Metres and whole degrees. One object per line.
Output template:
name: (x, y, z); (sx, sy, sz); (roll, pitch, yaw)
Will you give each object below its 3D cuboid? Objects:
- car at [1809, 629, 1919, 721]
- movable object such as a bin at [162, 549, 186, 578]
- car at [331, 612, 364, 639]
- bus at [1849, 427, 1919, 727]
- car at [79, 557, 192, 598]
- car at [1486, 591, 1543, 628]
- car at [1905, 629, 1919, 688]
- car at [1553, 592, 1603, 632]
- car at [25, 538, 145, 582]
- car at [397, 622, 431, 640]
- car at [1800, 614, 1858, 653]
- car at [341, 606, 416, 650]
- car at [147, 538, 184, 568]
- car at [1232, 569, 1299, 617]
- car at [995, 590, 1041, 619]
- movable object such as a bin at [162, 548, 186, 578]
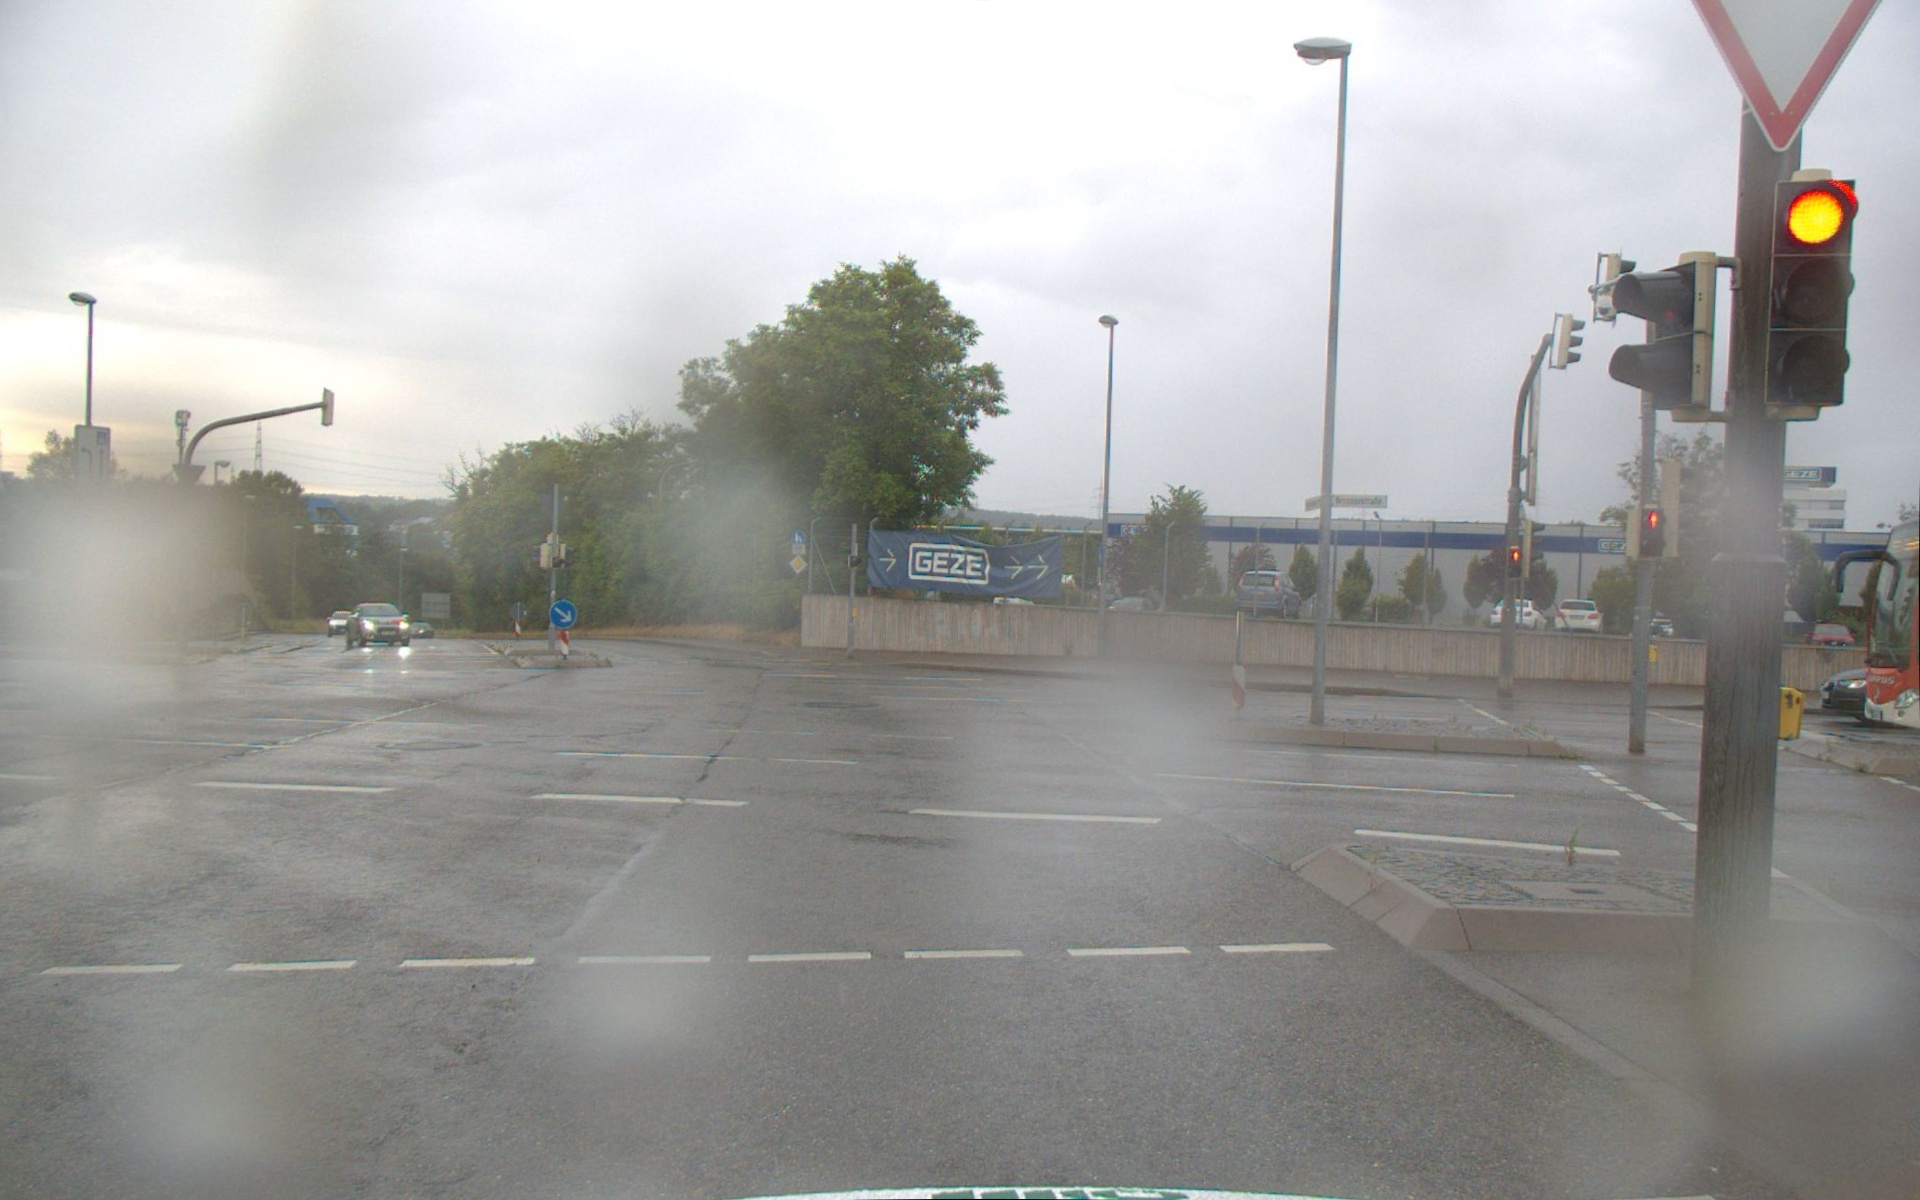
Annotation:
car: (16.282, 1.235, 26.669); (4.286, 1.378, 1.827); (2, 0, 16)
movable object such as a bin: (-41.583, -1.915, 87.486); (1.071, 1.462, 1.434); (3, -2, -27)
car: (-36.821, 1.519, 99.510); (1.693, 1.521, 3.979); (1, -1, -18)
bus: (17.743, 0.044, 19.813); (11.995, 3.638, 2.988); (3, 0, 17)
car: (-35.219, -0.958, 70.705); (3.902, 1.614, 1.903); (1, -2, 12)
car: (23.046, 0.411, 68.692); (1.781, 1.459, 4.100); (1, 0, 25)
car: (34.844, 2.094, 58.646); (1.707, 2.049, 3.824); (1, 0, 20)
car: (25.462, 0.496, 68.098); (1.820, 1.552, 4.103); (1, 0, 22)
car: (-35.838, -1.623, 67.817); (3.902, 1.614, 1.903); (1, -2, 8)
car: (-49.334, 2.788, 149.572); (1.860, 1.481, 3.999); (1, 0, -2)
car: (38.839, 1.455, 73.987); (1.883, 1.616, 3.788); (2, 0, 22)
car: (-20.762, 0.985, 58.967); (1.646, 1.521, 3.954); (1, -1, -33)
car: (-45.736, -2.674, 95.172); (1.806, 1.467, 3.964); (3, -2, -27)
car: (10.661, -0.220, 57.594); (1.707, 1.580, 3.531); (1, 0, 20)
car: (3.362, 0.296, 95.941); (1.632, 1.634, 3.531); (1, 0, 20)
movable object such as a bin: (-40.952, -1.909, 86.157); (1.071, 1.462, 1.434); (3, -2, -27)
